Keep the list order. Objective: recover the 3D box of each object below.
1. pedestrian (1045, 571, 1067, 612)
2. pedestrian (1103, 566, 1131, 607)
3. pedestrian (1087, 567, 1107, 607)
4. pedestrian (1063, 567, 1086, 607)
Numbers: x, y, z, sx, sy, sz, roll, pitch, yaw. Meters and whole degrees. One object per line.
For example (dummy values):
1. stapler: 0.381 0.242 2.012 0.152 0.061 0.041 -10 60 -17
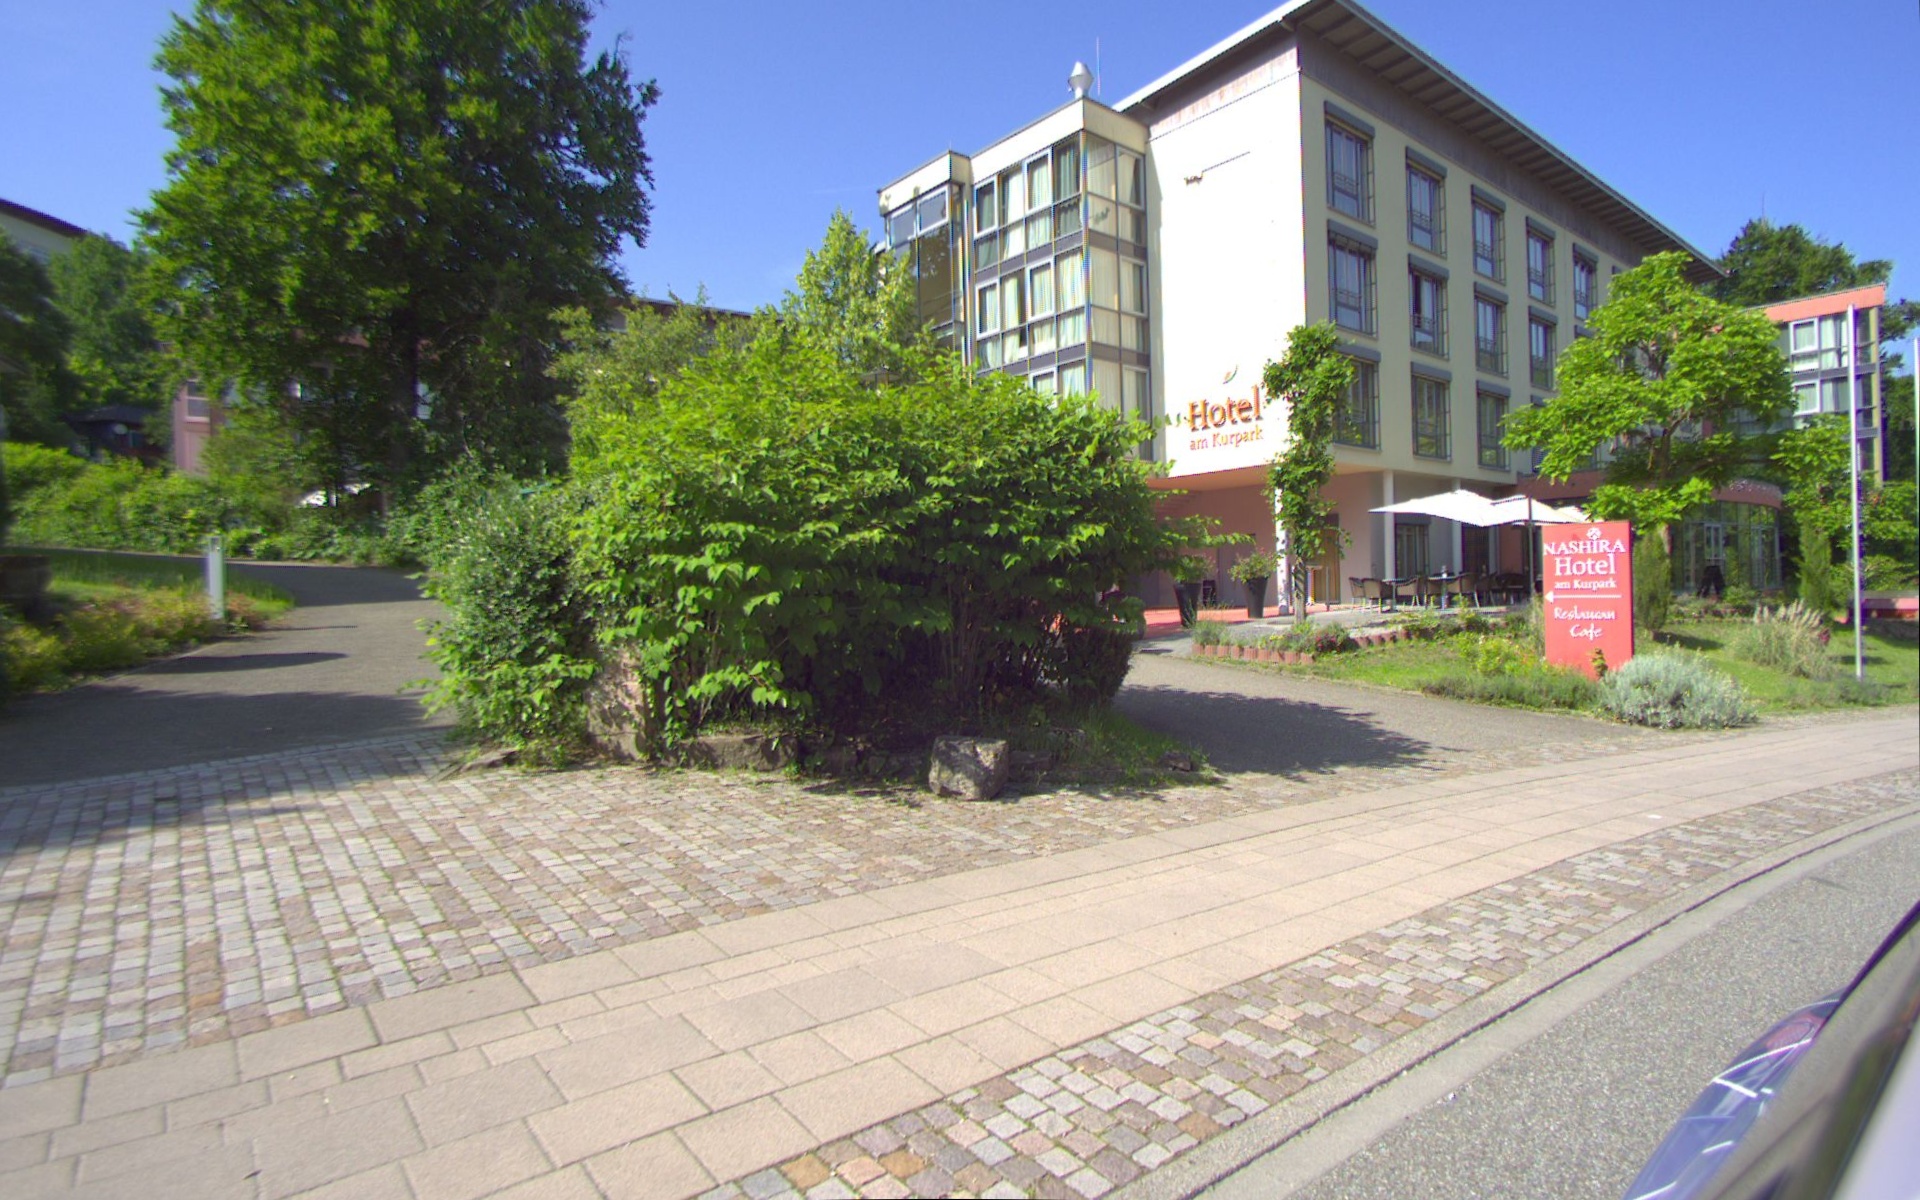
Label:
1. pedestrian: 2.923 -0.271 30.762 0.610 1.231 0.610 0 0 2
2. pedestrian: 4.785 -0.407 30.802 0.618 1.231 0.602 0 0 38
3. pedestrian: 4.290 -0.416 31.671 0.601 1.231 0.619 0 0 12
4. pedestrian: 3.555 -0.410 31.397 0.520 1.231 0.522 0 0 35
